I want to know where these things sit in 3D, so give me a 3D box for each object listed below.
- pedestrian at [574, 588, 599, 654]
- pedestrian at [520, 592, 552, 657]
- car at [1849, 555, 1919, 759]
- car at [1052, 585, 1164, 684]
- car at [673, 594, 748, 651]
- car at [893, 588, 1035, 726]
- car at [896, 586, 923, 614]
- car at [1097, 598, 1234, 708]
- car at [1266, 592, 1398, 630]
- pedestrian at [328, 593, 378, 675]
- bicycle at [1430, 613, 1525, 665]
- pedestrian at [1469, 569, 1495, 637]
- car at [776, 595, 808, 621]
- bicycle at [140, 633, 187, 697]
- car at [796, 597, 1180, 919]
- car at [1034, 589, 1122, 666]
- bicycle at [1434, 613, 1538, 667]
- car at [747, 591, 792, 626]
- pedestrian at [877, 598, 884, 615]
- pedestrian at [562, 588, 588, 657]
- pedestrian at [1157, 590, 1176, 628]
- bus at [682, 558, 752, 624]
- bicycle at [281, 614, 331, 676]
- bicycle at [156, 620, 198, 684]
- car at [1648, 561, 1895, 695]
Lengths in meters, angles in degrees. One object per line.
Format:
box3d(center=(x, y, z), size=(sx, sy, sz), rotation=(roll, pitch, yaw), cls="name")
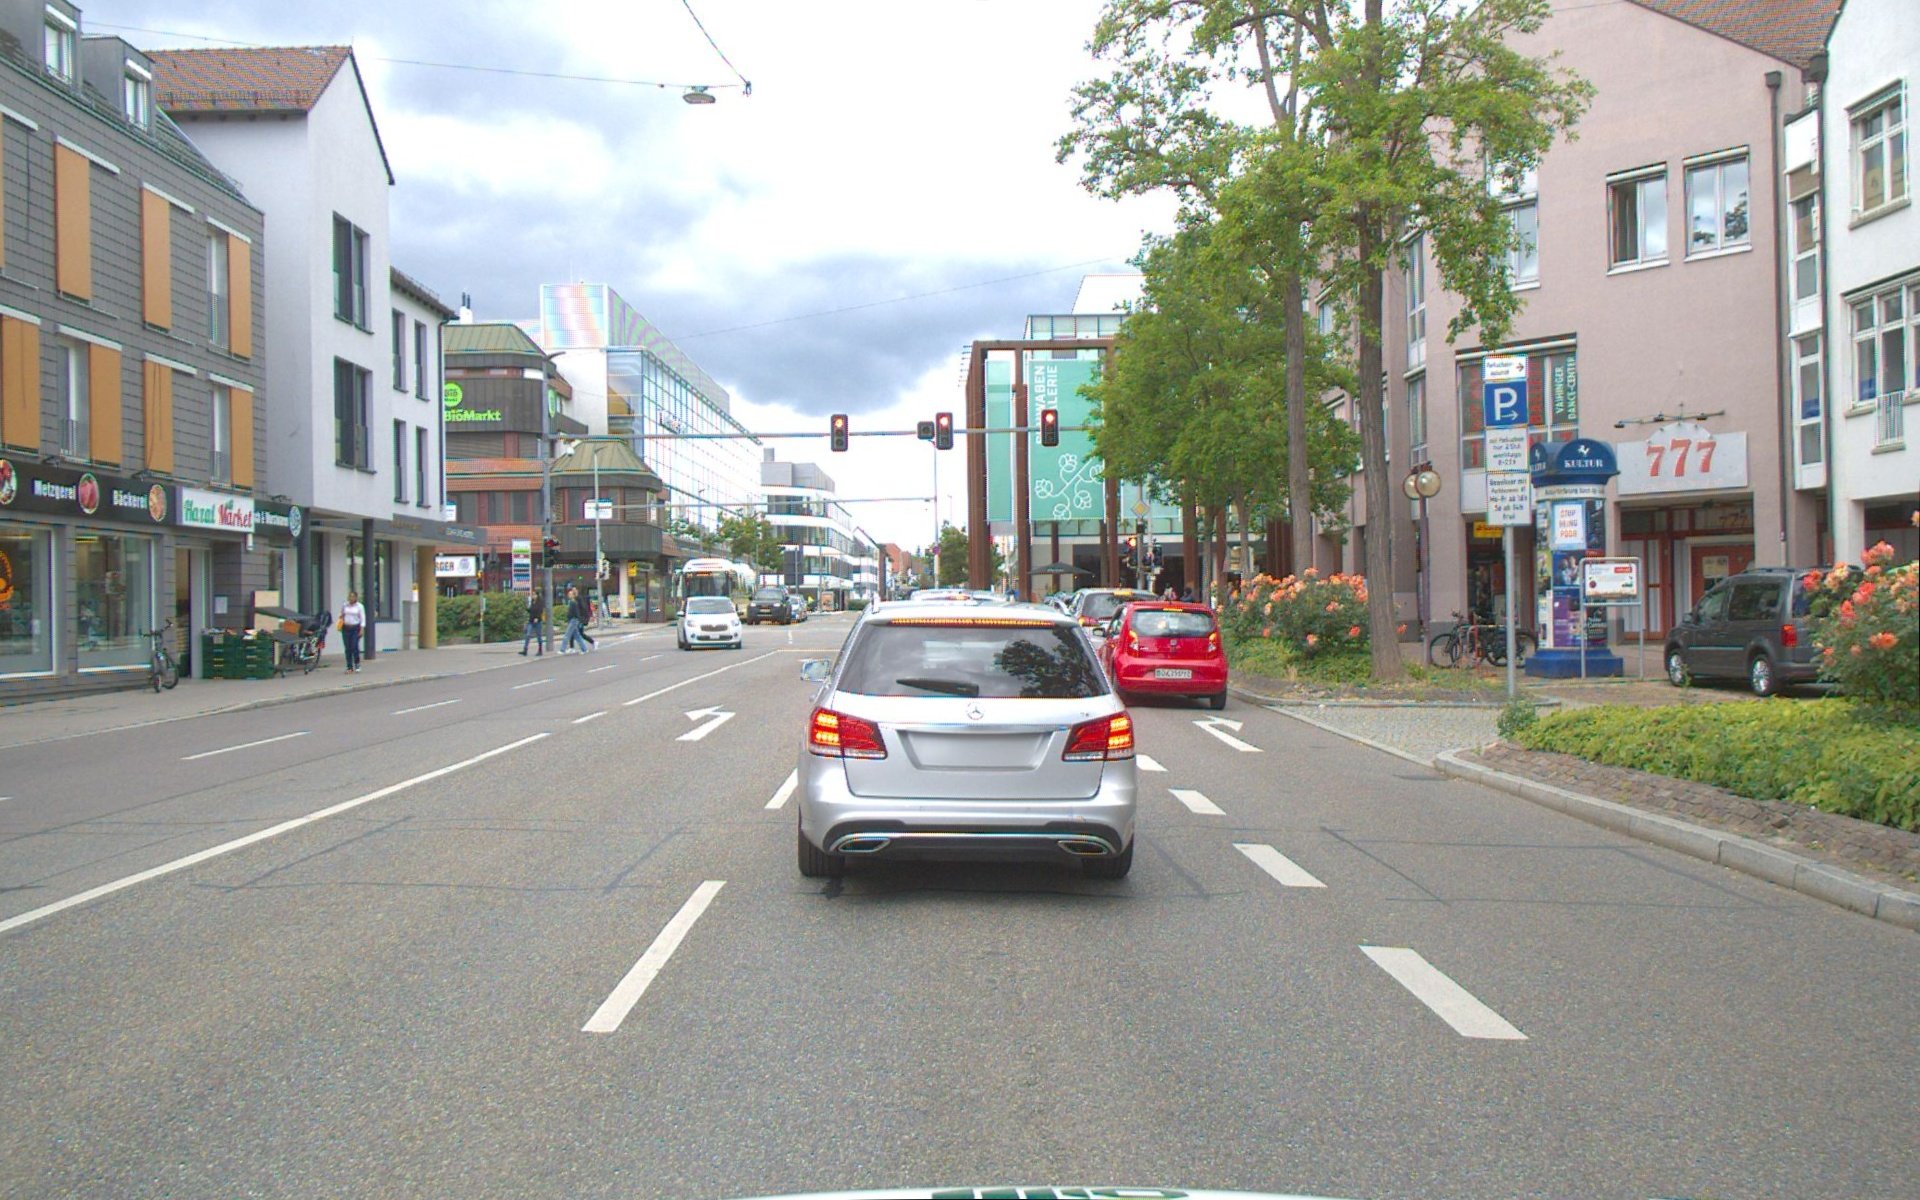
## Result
box3d(center=(-10.377, 0.582, 45.936), size=(0.633, 1.806, 0.569), rotation=(-1, 0, -12), cls="pedestrian")
box3d(center=(-11.148, 0.643, 43.503), size=(0.638, 1.679, 0.559), rotation=(-1, 0, 4), cls="pedestrian")
box3d(center=(9.906, 0.502, 14.226), size=(1.842, 1.909, 4.603), rotation=(-2, 0, -2), cls="car")
box3d(center=(2.649, 0.588, 30.417), size=(1.555, 1.662, 3.915), rotation=(1, 0, -2), cls="car")
box3d(center=(-7.106, 0.627, 46.947), size=(1.549, 1.514, 3.446), rotation=(-2, 0, -18), cls="car")
box3d(center=(0.027, 0.646, 20.596), size=(1.606, 1.554, 3.393), rotation=(1, 0, -1), cls="car")
box3d(center=(-3.725, 0.000, 122.299), size=(1.953, 1.983, 4.949), rotation=(0, 0, -2), cls="car")
box3d(center=(2.943, 0.726, 24.275), size=(1.554, 1.468, 3.348), rotation=(1, 0, 0), cls="car")
box3d(center=(14.123, 0.402, 62.961), size=(4.618, 1.393, 1.964), rotation=(-1, 0, 1), cls="car")
box3d(center=(-12.346, 0.681, 33.640), size=(0.713, 1.638, 0.753), rotation=(-1, 0, 0), cls="pedestrian")
box3d(center=(10.271, 0.771, 32.848), size=(1.731, 1.014, 0.447), rotation=(-1, 0, 4), cls="bicycle")
box3d(center=(14.459, 0.090, 45.820), size=(0.637, 1.866, 0.610), rotation=(-1, 0, 22), cls="pedestrian")
box3d(center=(-9.355, 0.433, 92.310), size=(1.523, 1.417, 3.287), rotation=(0, 0, -2), cls="car")
box3d(center=(-12.987, 1.049, 26.995), size=(0.320, 0.970, 1.479), rotation=(-1, 0, -11), cls="bicycle")
box3d(center=(0.124, 0.747, 9.961), size=(1.778, 1.474, 4.369), rotation=(1, 0, 0), cls="car")
box3d(center=(2.628, 0.589, 37.473), size=(1.555, 1.623, 3.866), rotation=(1, 0, -2), cls="car")
box3d(center=(10.266, 0.778, 32.301), size=(1.861, 1.014, 0.468), rotation=(-1, 0, 4), cls="bicycle")
box3d(center=(-9.737, 0.412, 84.757), size=(1.953, 1.736, 4.063), rotation=(0, 0, -2), cls="car")
box3d(center=(-7.993, 0.647, 166.396), size=(0.508, 1.764, 0.489), rotation=(-1, 0, 9), cls="pedestrian")
box3d(center=(-10.387, 0.604, 44.638), size=(0.635, 1.821, 0.682), rotation=(-1, 0, -11), cls="pedestrian")
box3d(center=(9.108, 0.404, 72.964), size=(0.641, 1.679, 0.557), rotation=(-1, 0, -15), cls="pedestrian")
box3d(center=(-12.769, -0.480, 87.523), size=(2.632, 3.318, 8.650), rotation=(0, 0, -2), cls="bus")
box3d(center=(-13.376, 0.901, 33.846), size=(0.378, 1.207, 1.825), rotation=(-1, 0, -3), cls="bicycle")
box3d(center=(-14.753, 0.968, 31.170), size=(0.379, 1.147, 1.287), rotation=(-1, 0, -10), cls="bicycle")
box3d(center=(12.423, 0.385, 25.608), size=(1.605, 1.863, 3.963), rotation=(-2, 0, -5), cls="car")
